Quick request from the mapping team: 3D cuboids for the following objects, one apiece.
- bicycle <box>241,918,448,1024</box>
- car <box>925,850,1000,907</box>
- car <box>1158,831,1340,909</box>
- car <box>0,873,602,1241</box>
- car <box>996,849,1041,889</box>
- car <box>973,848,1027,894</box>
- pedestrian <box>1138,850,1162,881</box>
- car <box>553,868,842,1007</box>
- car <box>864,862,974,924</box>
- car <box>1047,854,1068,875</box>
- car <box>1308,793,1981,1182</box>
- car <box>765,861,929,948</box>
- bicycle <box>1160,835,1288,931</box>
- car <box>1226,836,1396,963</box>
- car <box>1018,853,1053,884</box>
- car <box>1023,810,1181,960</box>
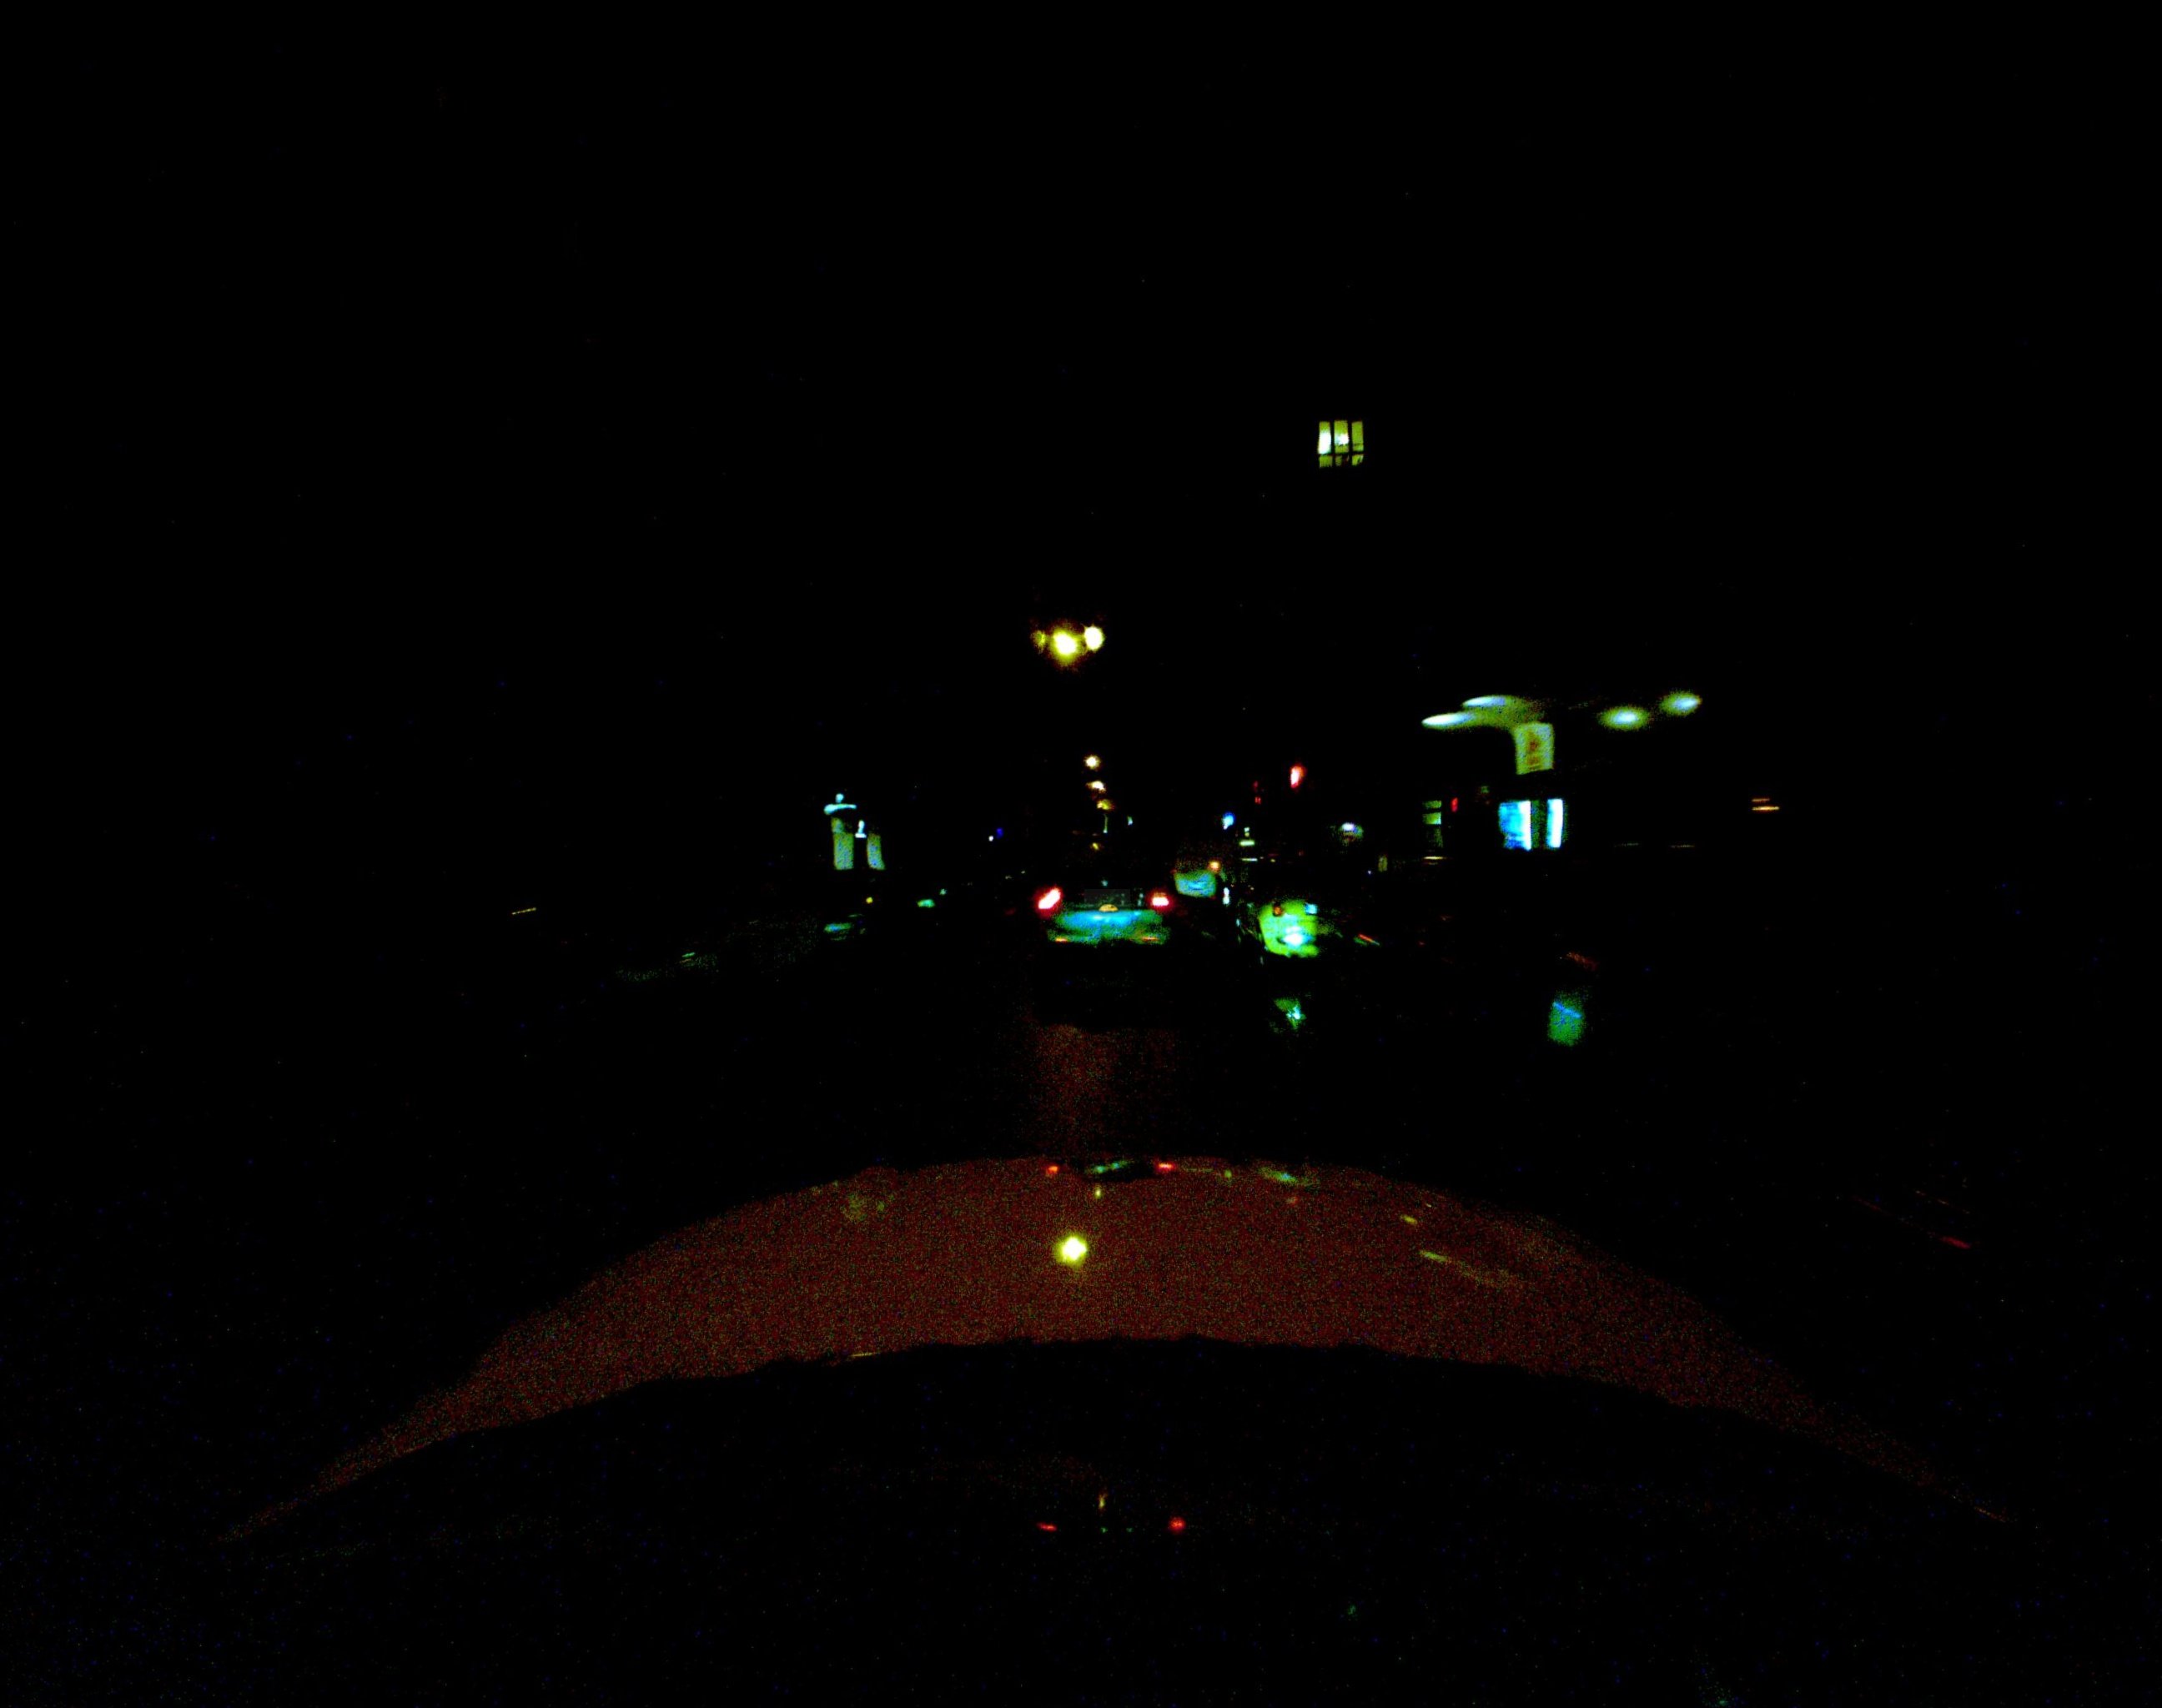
[{"bbox_3d":[-8.323,1.272,9.340,0.447,0.958,2.015,-3,-2,2],"label":"bicycle"},{"bbox_3d":[-4.046,0.807,28.493,1.987,1.862,4.094,0,0,0],"label":"car"},{"bbox_3d":[4.668,0.362,22.400,4.845,1.922,2.107,-1,0,-34],"label":"car"},{"bbox_3d":[-4.963,0.916,5.205,1.580,1.449,3.505,-1,0,2],"label":"car"},{"bbox_3d":[-3.280,0.792,43.490,1.986,2.014,4.001,0,-1,2],"label":"car"},{"bbox_3d":[-3.685,0.769,37.752,1.986,2.014,4.001,0,-1,1],"label":"car"},{"bbox_3d":[3.832,0.656,45.494,1.222,1.675,0.697,-3,-2,2],"label":"pedestrian"},{"bbox_3d":[-4.784,0.944,10.963,1.683,1.400,4.319,-1,0,2],"label":"car"},{"bbox_3d":[-4.096,0.949,21.254,1.986,1.449,4.000,0,0,1],"label":"car"},{"bbox_3d":[-2.241,1.018,79.037,1.743,2.014,4.001,0,-1,1],"label":"car"},{"bbox_3d":[2.935,0.591,5.438,1.747,1.608,3.990,-1,-1,1],"label":"car"},{"bbox_3d":[-4.495,0.894,16.446,1.746,1.449,4.626,0,0,3],"label":"car"},{"bbox_3d":[2.813,0.563,16.224,2.309,1.639,0.889,-6,-1,5],"label":"bicycle"},{"bbox_3d":[3.136,0.586,11.741,1.585,1.543,3.422,-1,-1,2],"label":"car"},{"bbox_3d":[-3.009,0.931,54.899,1.986,2.014,4.001,0,-1,1],"label":"car"},{"bbox_3d":[0.228,0.426,13.454,2.117,1.991,4.597,-2,0,-2],"label":"car"}]
